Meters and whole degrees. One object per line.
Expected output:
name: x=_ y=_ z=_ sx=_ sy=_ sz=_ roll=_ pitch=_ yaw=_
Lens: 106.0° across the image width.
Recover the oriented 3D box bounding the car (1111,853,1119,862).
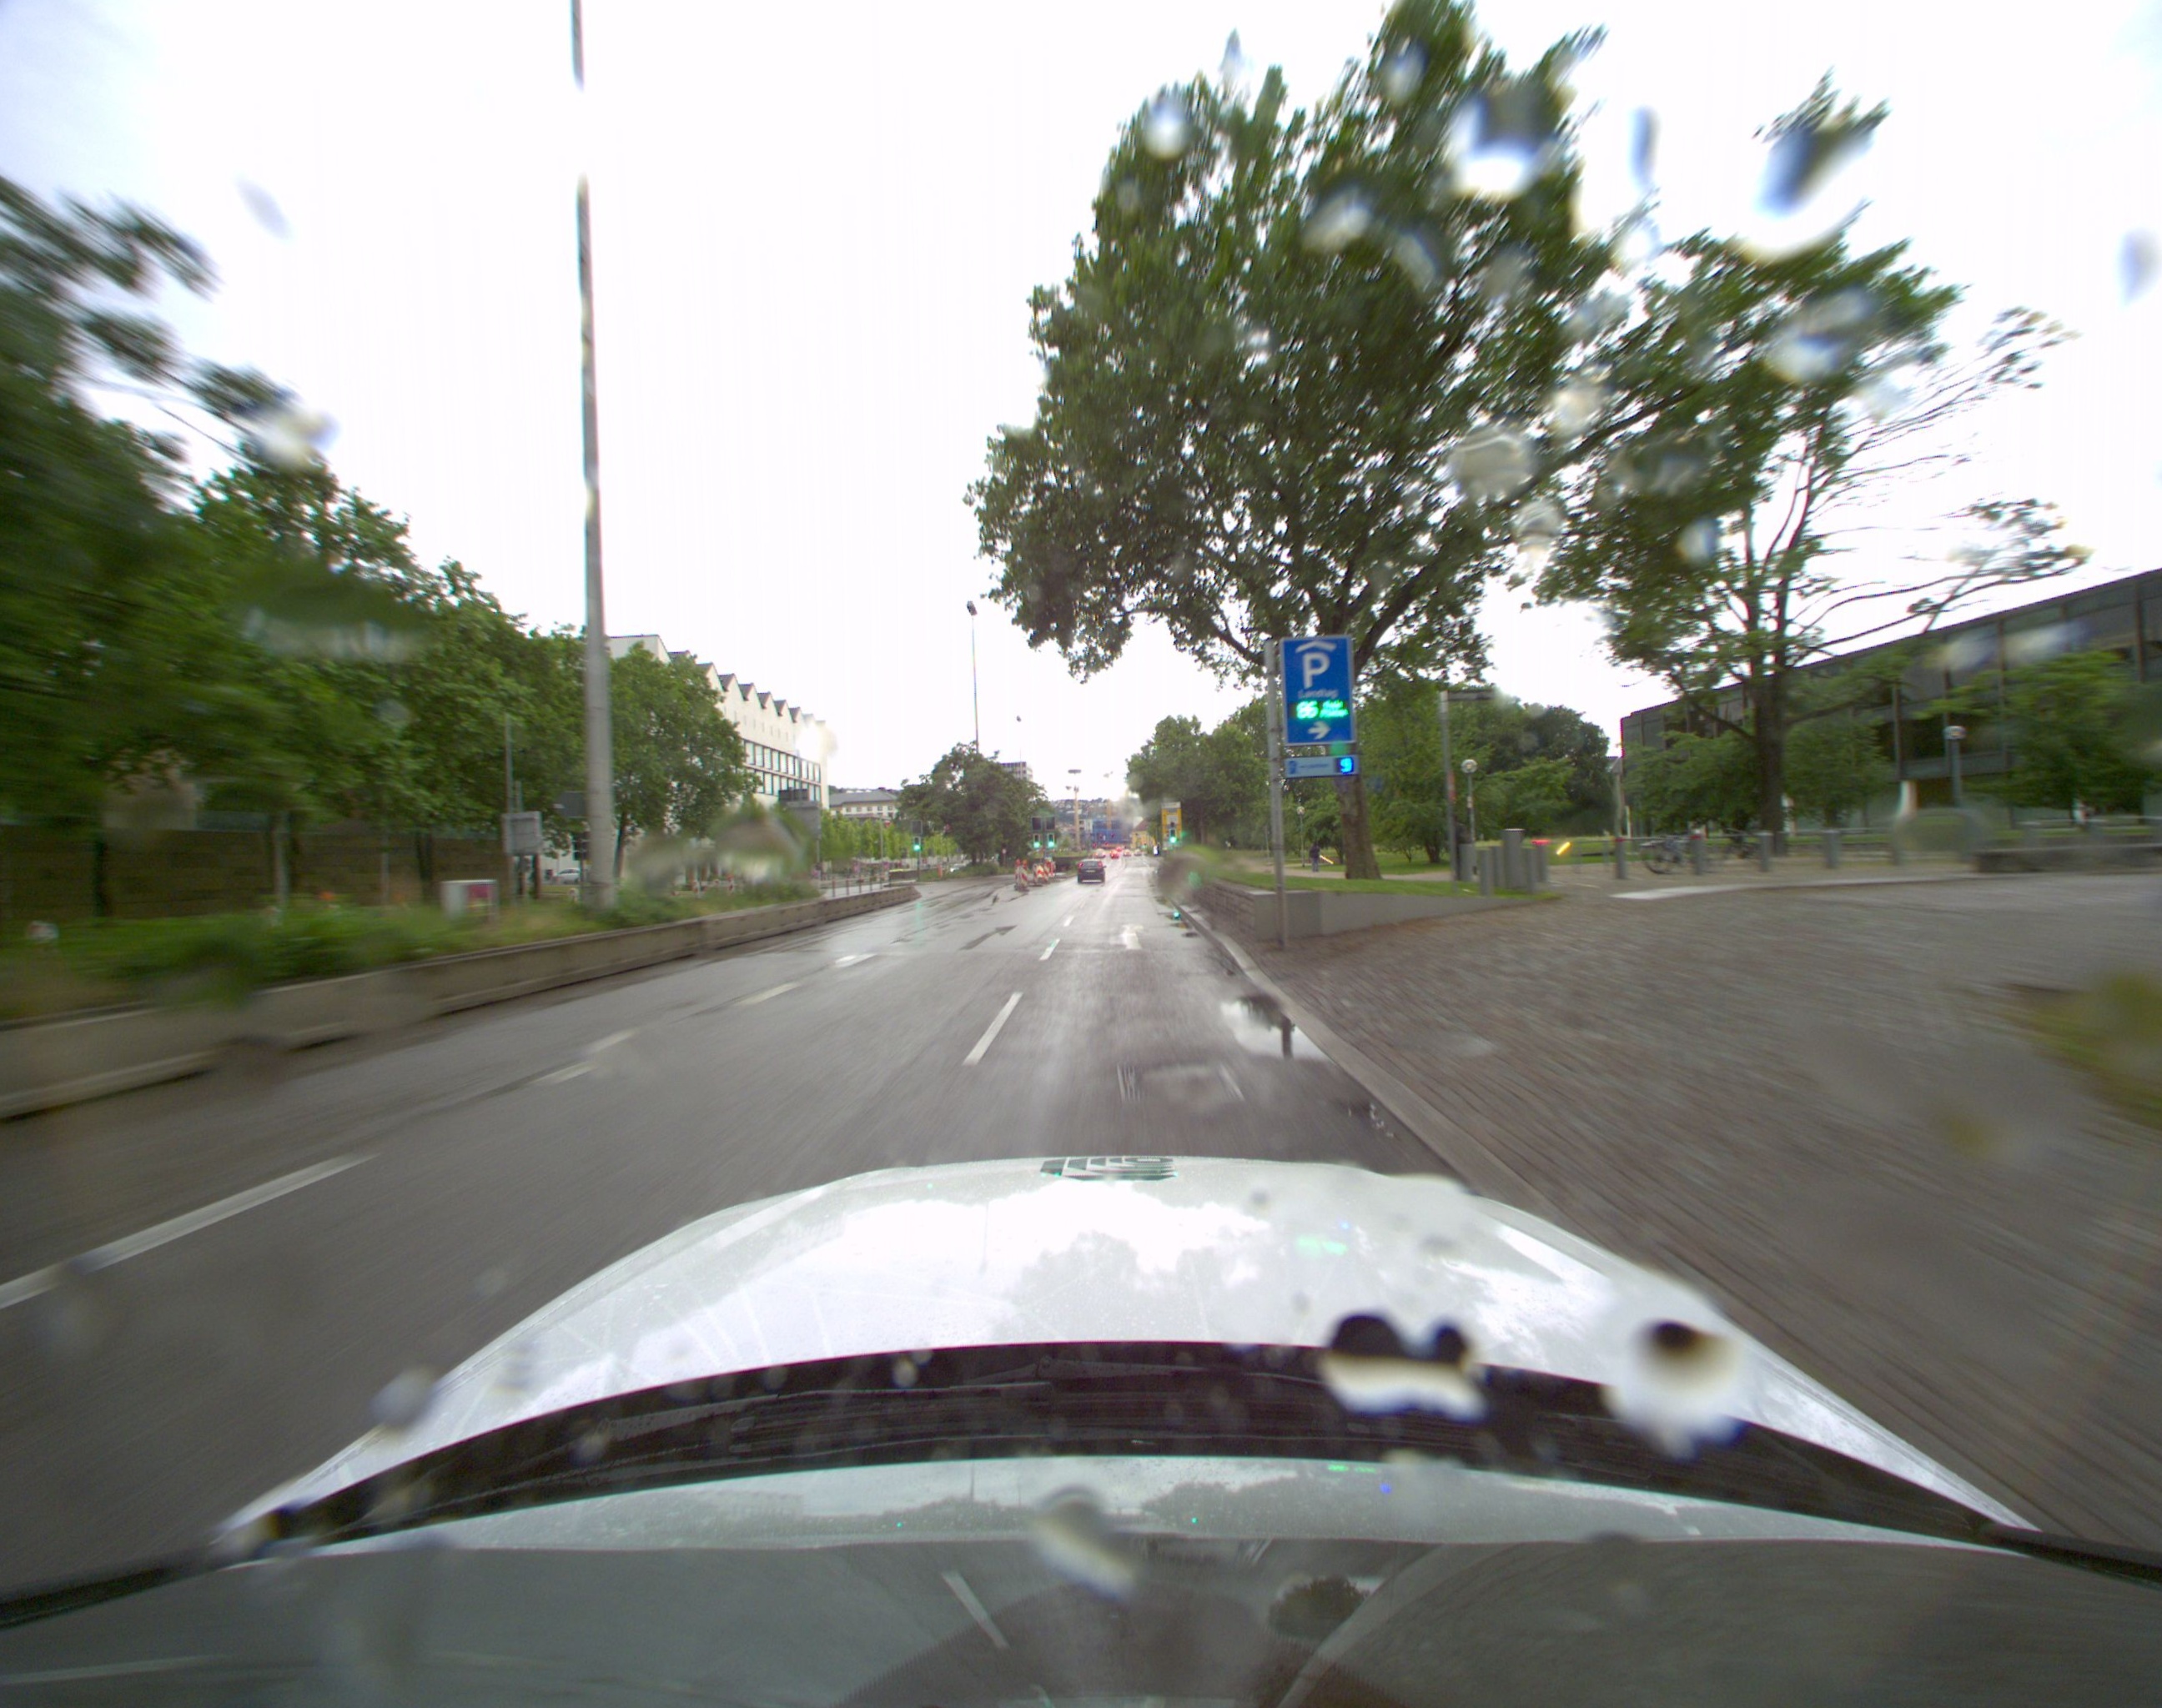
car: x=8.220 y=0.855 z=196.950 sx=1.732 sy=1.771 sz=4.002 roll=-4 pitch=-1 yaw=2

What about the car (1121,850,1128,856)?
car: x=12.335 y=-0.302 z=228.598 sx=1.705 sy=1.690 sz=3.854 roll=-4 pitch=-1 yaw=5

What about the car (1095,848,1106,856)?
car: x=4.961 y=-0.496 z=207.165 sx=2.207 sy=2.014 sz=4.009 roll=-2 pitch=-2 yaw=8

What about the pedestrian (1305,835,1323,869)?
pedestrian: x=12.309 y=-0.094 z=43.039 sx=0.593 sy=1.755 sz=0.725 roll=-4 pitch=0 yaw=-1

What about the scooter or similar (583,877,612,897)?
scooter or similar: x=-36.416 y=2.478 z=61.369 sx=0.706 sy=1.351 sz=1.684 roll=-4 pitch=-1 yaw=22

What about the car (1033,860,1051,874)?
car: x=-5.529 y=1.813 z=115.719 sx=1.985 sy=1.781 sz=4.003 roll=-3 pitch=0 yaw=3

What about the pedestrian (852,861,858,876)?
pedestrian: x=-30.868 y=1.954 z=111.093 sx=0.543 sy=2.014 sz=0.525 roll=-3 pitch=-2 yaw=-33

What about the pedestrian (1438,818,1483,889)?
pedestrian: x=9.590 y=-0.003 z=20.600 sx=0.702 sy=1.718 sz=0.693 roll=-4 pitch=0 yaw=2

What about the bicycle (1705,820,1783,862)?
bicycle: x=18.656 y=-0.356 z=22.929 sx=1.638 sy=1.085 sz=0.708 roll=-3 pitch=0 yaw=-4

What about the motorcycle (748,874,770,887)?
motorcycle: x=-30.706 y=2.495 z=77.623 sx=1.843 sy=1.154 sz=0.423 roll=-3 pitch=-1 yaw=-26

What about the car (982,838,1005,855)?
car: x=-8.932 y=-0.739 z=83.507 sx=1.989 sy=1.632 sz=3.996 roll=-2 pitch=-1 yaw=-3

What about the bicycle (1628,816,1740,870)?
bicycle: x=14.318 y=-0.255 z=19.371 sx=2.034 sy=1.173 sz=0.957 roll=-3 pitch=0 yaw=-9

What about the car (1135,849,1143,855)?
car: x=16.087 y=-0.612 z=225.910 sx=1.984 sy=1.599 sz=4.005 roll=-4 pitch=-1 yaw=5

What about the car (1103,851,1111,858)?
car: x=7.231 y=0.109 z=227.329 sx=1.984 sy=1.782 sz=4.005 roll=-4 pitch=-1 yaw=5

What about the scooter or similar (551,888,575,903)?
scooter or similar: x=-38.931 y=3.109 z=61.155 sx=1.658 sy=1.018 sz=0.438 roll=-4 pitch=-1 yaw=13

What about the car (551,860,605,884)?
car: x=-48.193 y=1.725 z=78.062 sx=3.966 sy=2.013 sz=2.005 roll=1 pitch=3 yaw=6

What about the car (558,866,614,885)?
car: x=-46.392 y=2.036 z=76.379 sx=3.975 sy=1.596 sz=1.999 roll=-2 pitch=0 yaw=-1

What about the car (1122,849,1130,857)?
car: x=12.348 y=-0.158 z=223.312 sx=1.980 sy=2.014 sz=4.001 roll=-4 pitch=-1 yaw=2

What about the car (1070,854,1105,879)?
car: x=0.381 y=0.810 z=51.098 sx=1.840 sy=1.416 sz=3.833 roll=-4 pitch=-1 yaw=-4
